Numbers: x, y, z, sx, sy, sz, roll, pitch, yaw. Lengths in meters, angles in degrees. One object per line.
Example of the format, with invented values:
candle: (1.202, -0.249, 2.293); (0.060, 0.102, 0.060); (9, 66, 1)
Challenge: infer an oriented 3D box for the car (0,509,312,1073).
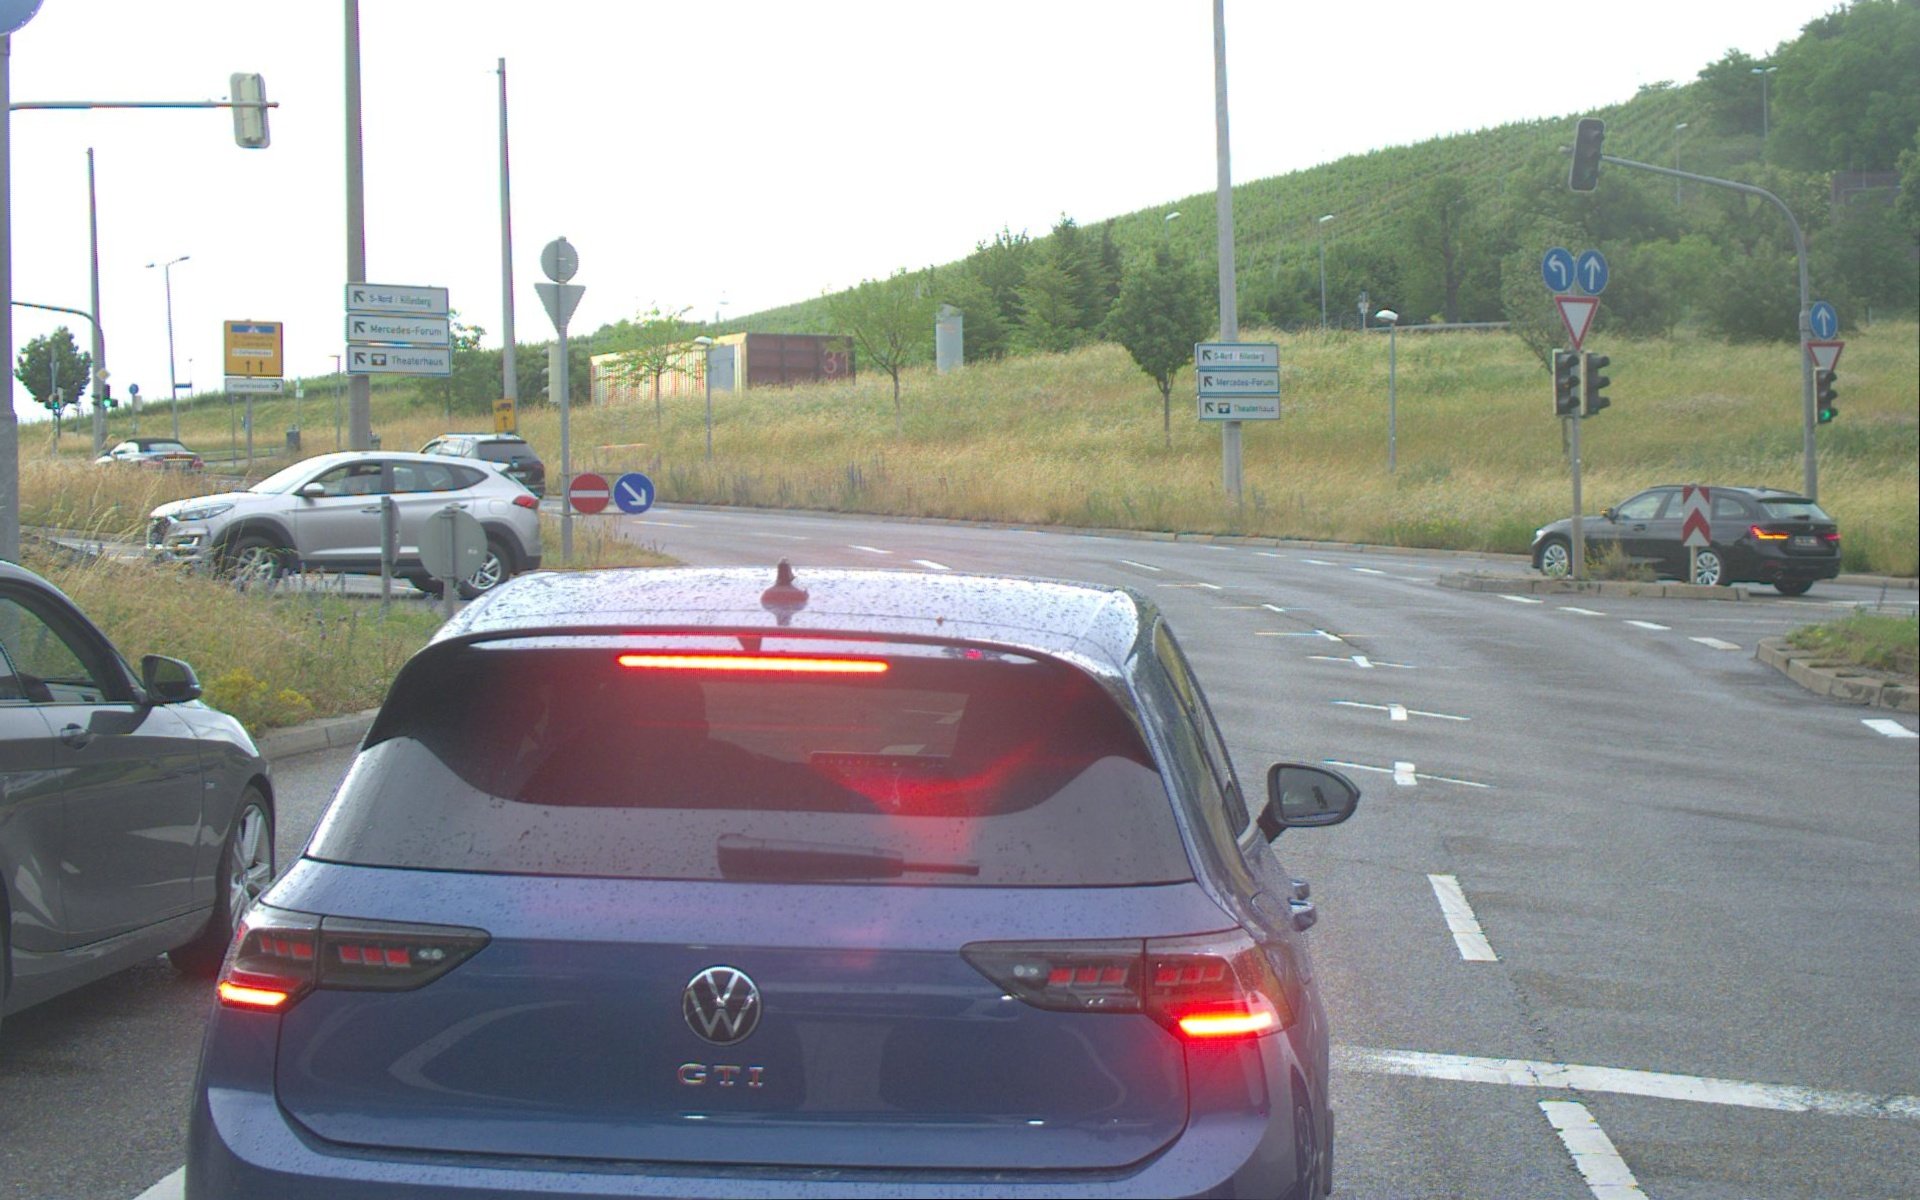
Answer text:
car: (-3.251, 0.473, 9.789); (1.703, 1.454, 4.114); (0, 1, 5)

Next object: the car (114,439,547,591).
car: (-7.201, -0.936, 39.334); (4.509, 1.615, 2.000); (1, 0, -24)

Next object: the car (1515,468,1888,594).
car: (10.039, -0.962, 46.907); (1.994, 1.612, 4.851); (0, 2, -36)

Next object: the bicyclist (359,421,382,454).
bicyclist: (-19.253, -5.297, 112.292); (0.523, 1.043, 0.580); (3, 1, -33)

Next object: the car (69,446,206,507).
car: (-21.862, -3.261, 91.281); (1.994, 1.472, 4.502); (1, 0, -36)

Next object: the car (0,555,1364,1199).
car: (-0.236, 0.658, 6.402); (1.825, 1.455, 3.808); (0, 1, 5)

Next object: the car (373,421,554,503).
car: (-10.825, -2.977, 74.744); (1.994, 1.631, 4.420); (1, 0, -37)
